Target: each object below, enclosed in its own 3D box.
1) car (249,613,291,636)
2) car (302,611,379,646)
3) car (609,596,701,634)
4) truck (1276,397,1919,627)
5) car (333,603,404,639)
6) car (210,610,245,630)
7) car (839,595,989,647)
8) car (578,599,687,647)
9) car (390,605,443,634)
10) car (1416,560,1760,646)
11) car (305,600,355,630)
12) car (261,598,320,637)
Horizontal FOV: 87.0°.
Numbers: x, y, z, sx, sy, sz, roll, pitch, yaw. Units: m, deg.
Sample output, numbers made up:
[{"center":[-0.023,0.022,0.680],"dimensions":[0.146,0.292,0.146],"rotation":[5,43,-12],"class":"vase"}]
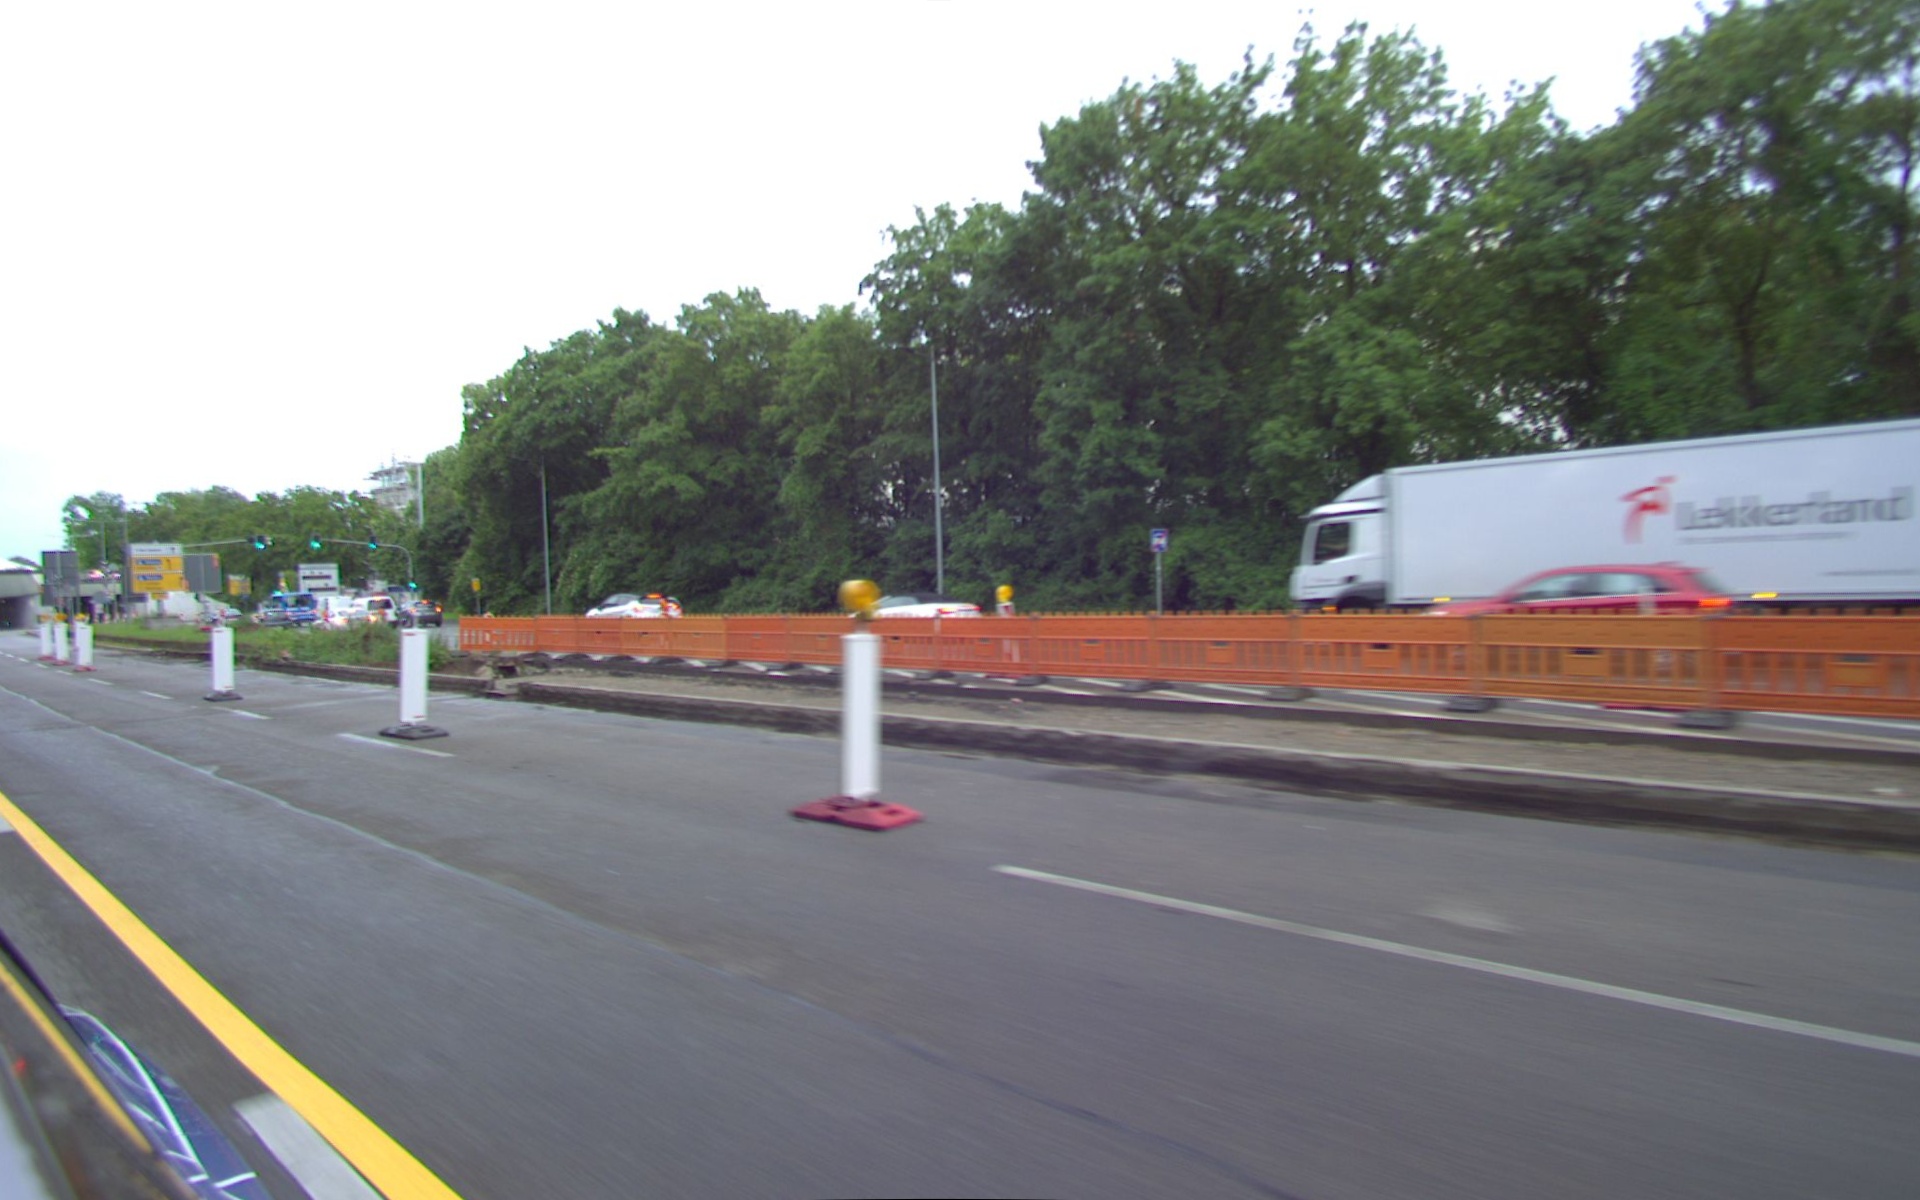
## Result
[{"center":[-40.224,1.395,58.980],"dimensions":[1.413,1.209,3.302],"rotation":[-3,2,-44],"class":"car"},{"center":[-28.728,1.327,46.878],"dimensions":[4.678,1.497,1.836],"rotation":[-2,0,43],"class":"car"},{"center":[-12.282,0.614,40.671],"dimensions":[3.895,1.436,1.772],"rotation":[-1,0,42],"class":"car"},{"center":[11.045,-1.183,17.891],"dimensions":[10.145,3.172,2.766],"rotation":[-1,1,42],"class":"truck"},{"center":[-32.292,1.145,55.213],"dimensions":[4.832,1.794,1.894],"rotation":[-2,0,42],"class":"car"},{"center":[-50.508,1.353,69.729],"dimensions":[1.530,1.209,4.653],"rotation":[-3,2,-41],"class":"car"},{"center":[-1.394,0.604,29.525],"dimensions":[4.367,1.389,1.791],"rotation":[-1,0,42],"class":"car"},{"center":[-11.473,0.799,35.332],"dimensions":[4.039,1.562,1.815],"rotation":[-1,0,42],"class":"car"},{"center":[-31.586,1.119,58.769],"dimensions":[1.652,1.535,3.792],"rotation":[-3,2,-44],"class":"car"},{"center":[9.537,0.052,15.599],"dimensions":[4.282,1.161,1.588],"rotation":[-1,1,42],"class":"car"},{"center":[-46.533,1.109,74.729],"dimensions":[2.011,1.989,4.993],"rotation":[-4,1,-45],"class":"car"},{"center":[-45.996,1.217,69.468],"dimensions":[2.170,2.408,6.247],"rotation":[-4,1,-45],"class":"car"}]
